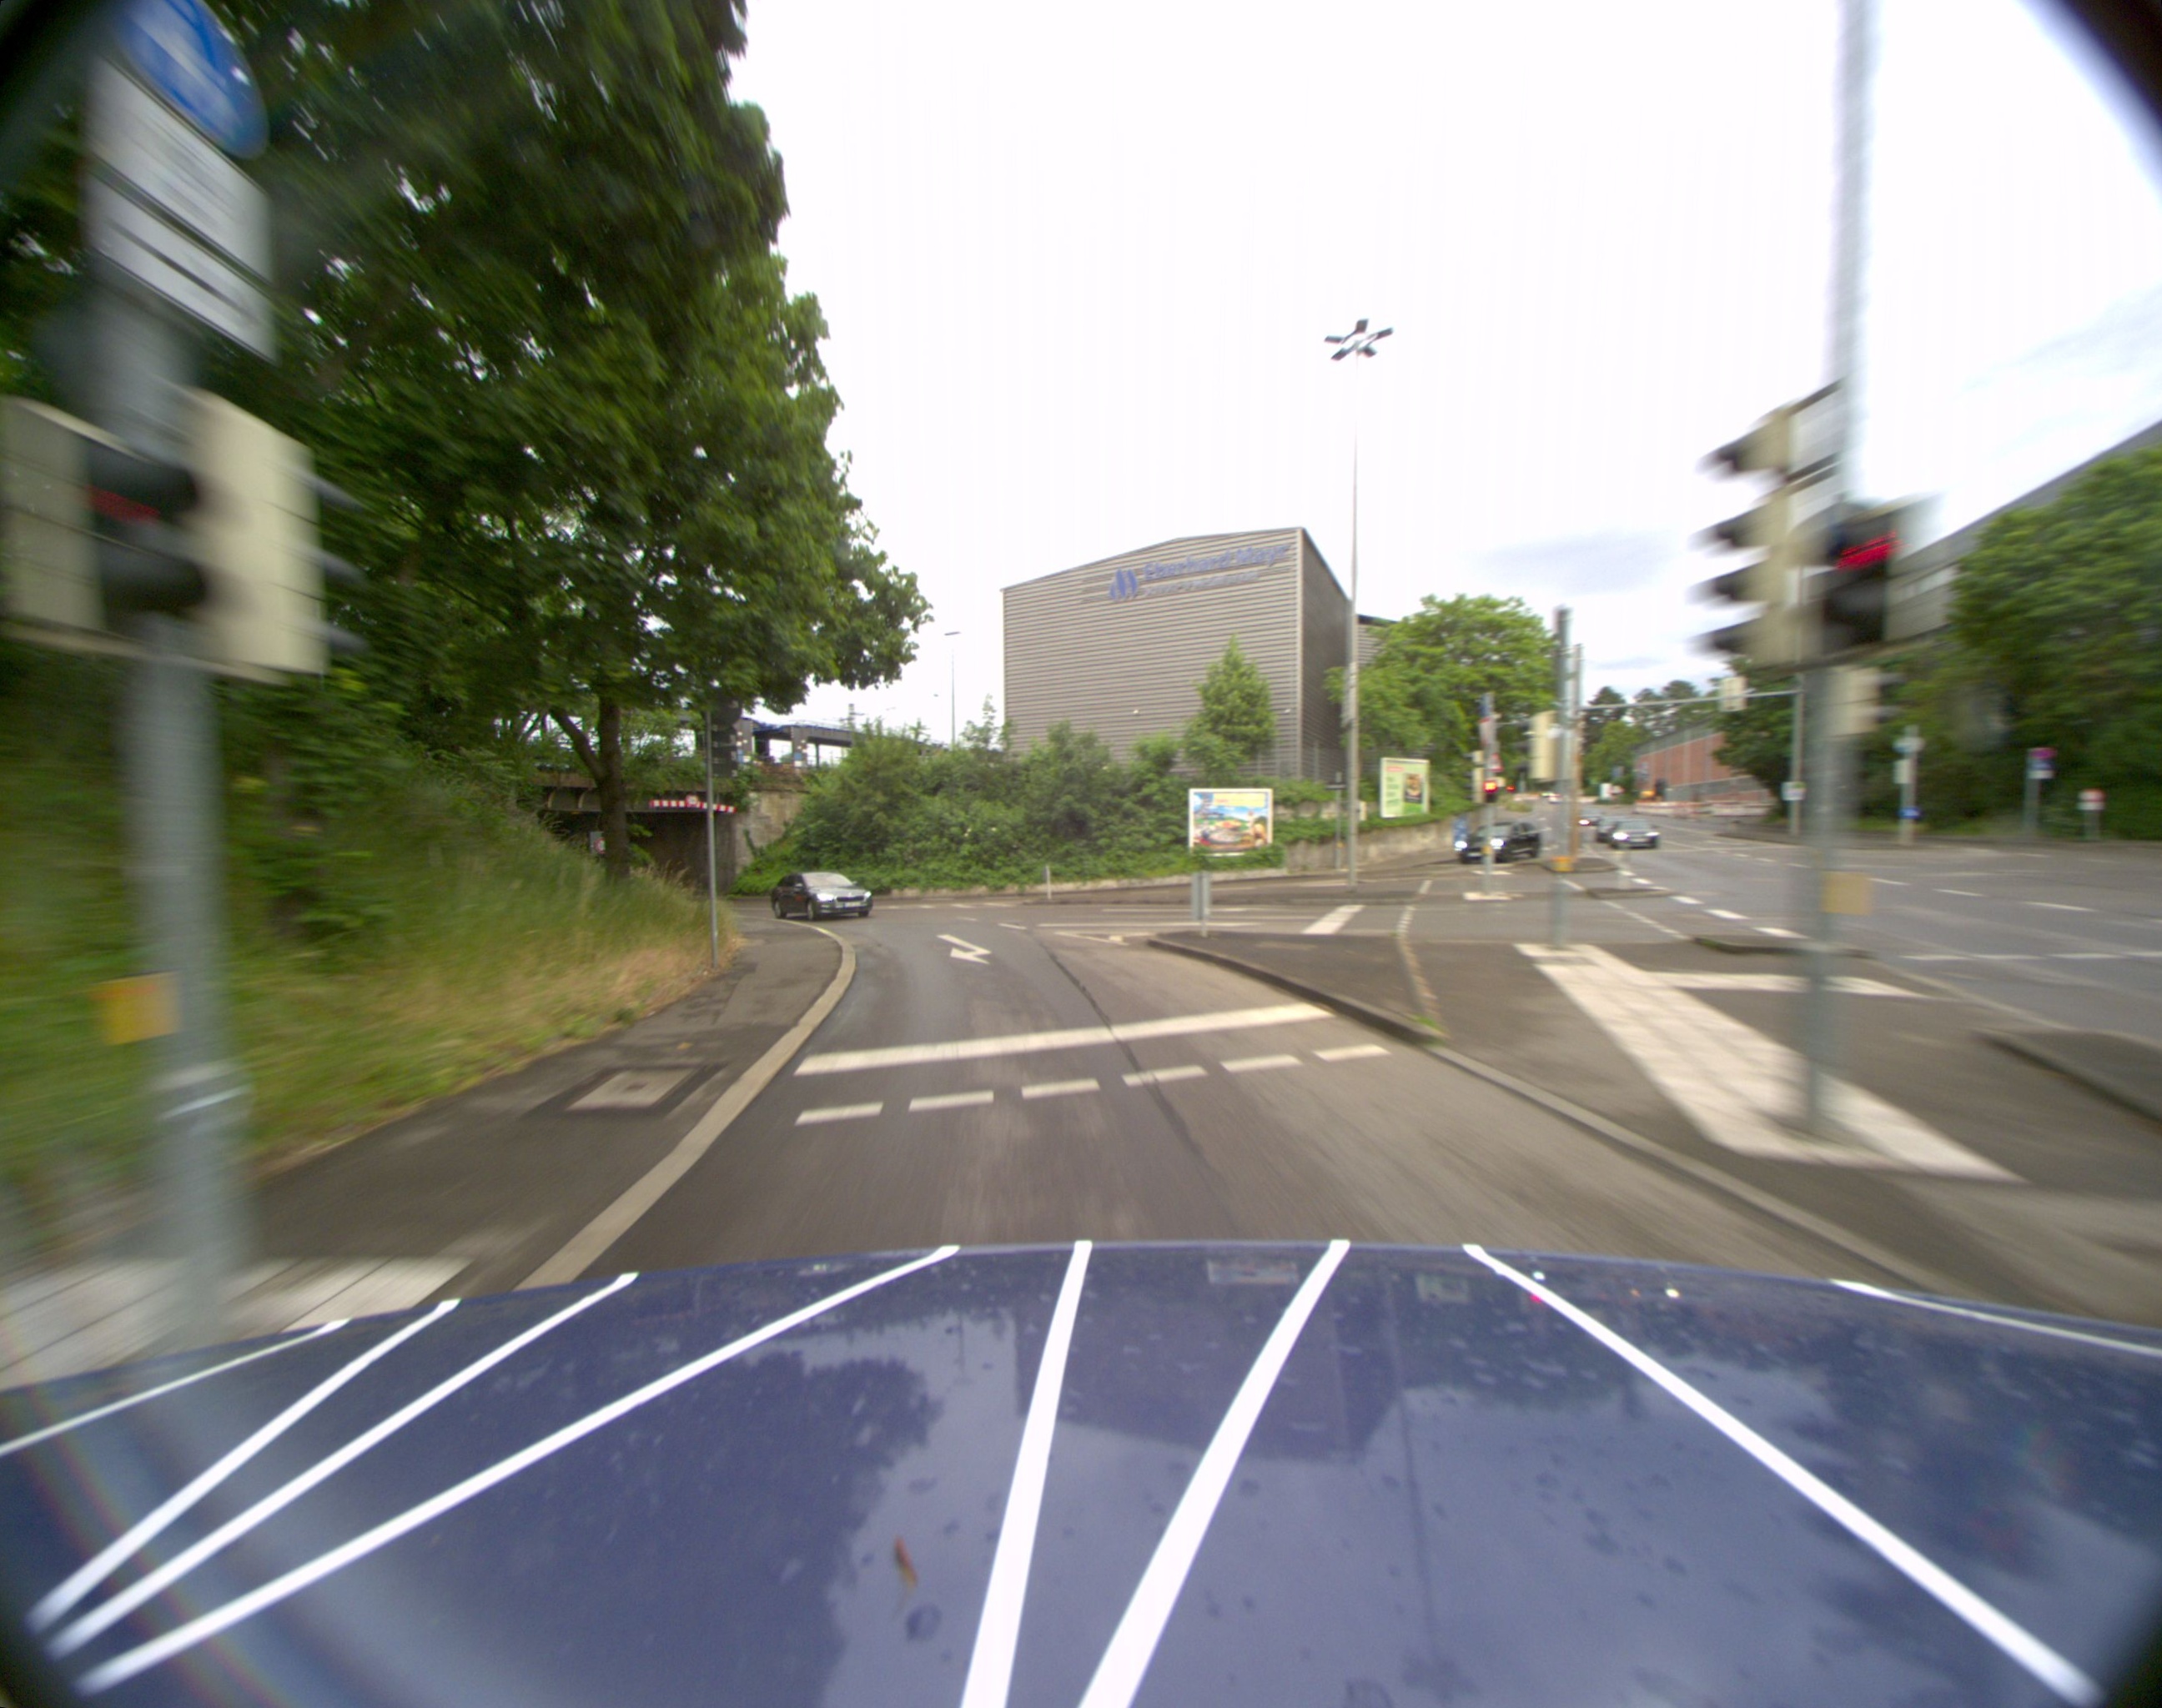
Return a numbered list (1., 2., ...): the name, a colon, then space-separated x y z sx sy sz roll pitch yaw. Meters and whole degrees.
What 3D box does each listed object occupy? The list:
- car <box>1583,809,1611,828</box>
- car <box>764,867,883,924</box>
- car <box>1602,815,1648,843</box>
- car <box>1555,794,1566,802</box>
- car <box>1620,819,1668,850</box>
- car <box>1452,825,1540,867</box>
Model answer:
1. car: 43.763 -2.998 64.484 1.733 1.569 3.715 1 3 30
2. car: -7.983 1.253 23.371 1.815 1.509 4.041 -4 1 -44
3. car: 30.885 -1.422 43.099 1.749 1.362 3.763 -3 1 40
4. car: 82.890 -9.710 131.367 1.530 1.308 3.236 1 3 32
5. car: 27.287 -0.979 36.799 1.593 1.252 3.763 -3 1 40
6. car: 18.125 -0.366 33.114 4.218 1.535 1.948 -5 2 -40
